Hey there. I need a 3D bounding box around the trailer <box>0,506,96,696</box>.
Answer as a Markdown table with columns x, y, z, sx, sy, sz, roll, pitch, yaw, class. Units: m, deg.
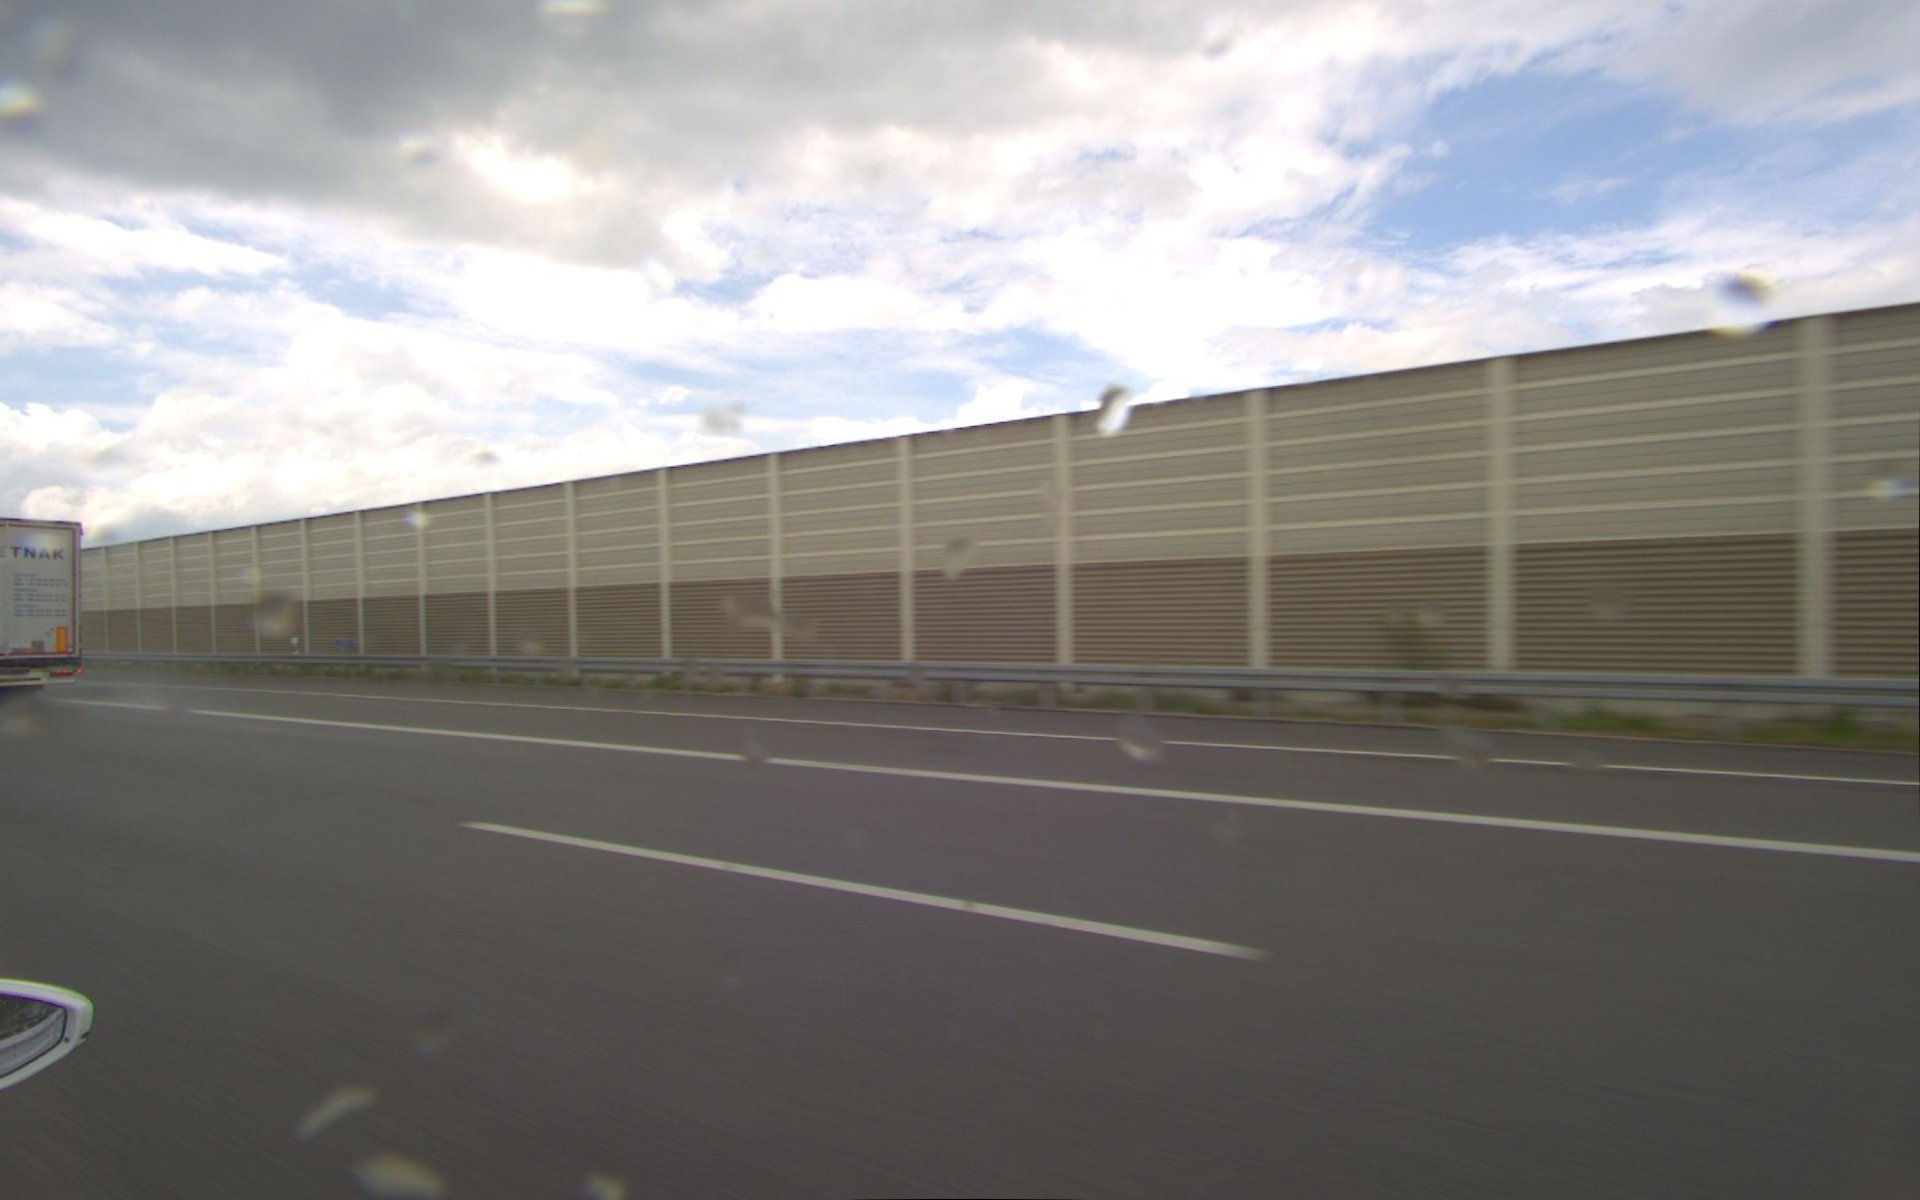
| x | y | z | sx | sy | sz | roll | pitch | yaw | class |
| --- | --- | --- | --- | --- | --- | --- | --- | --- | --- |
| -26.525 | 0.177 | 25.585 | 14.247 | 4.084 | 2.756 | -1 | -1 | 32 | trailer |
